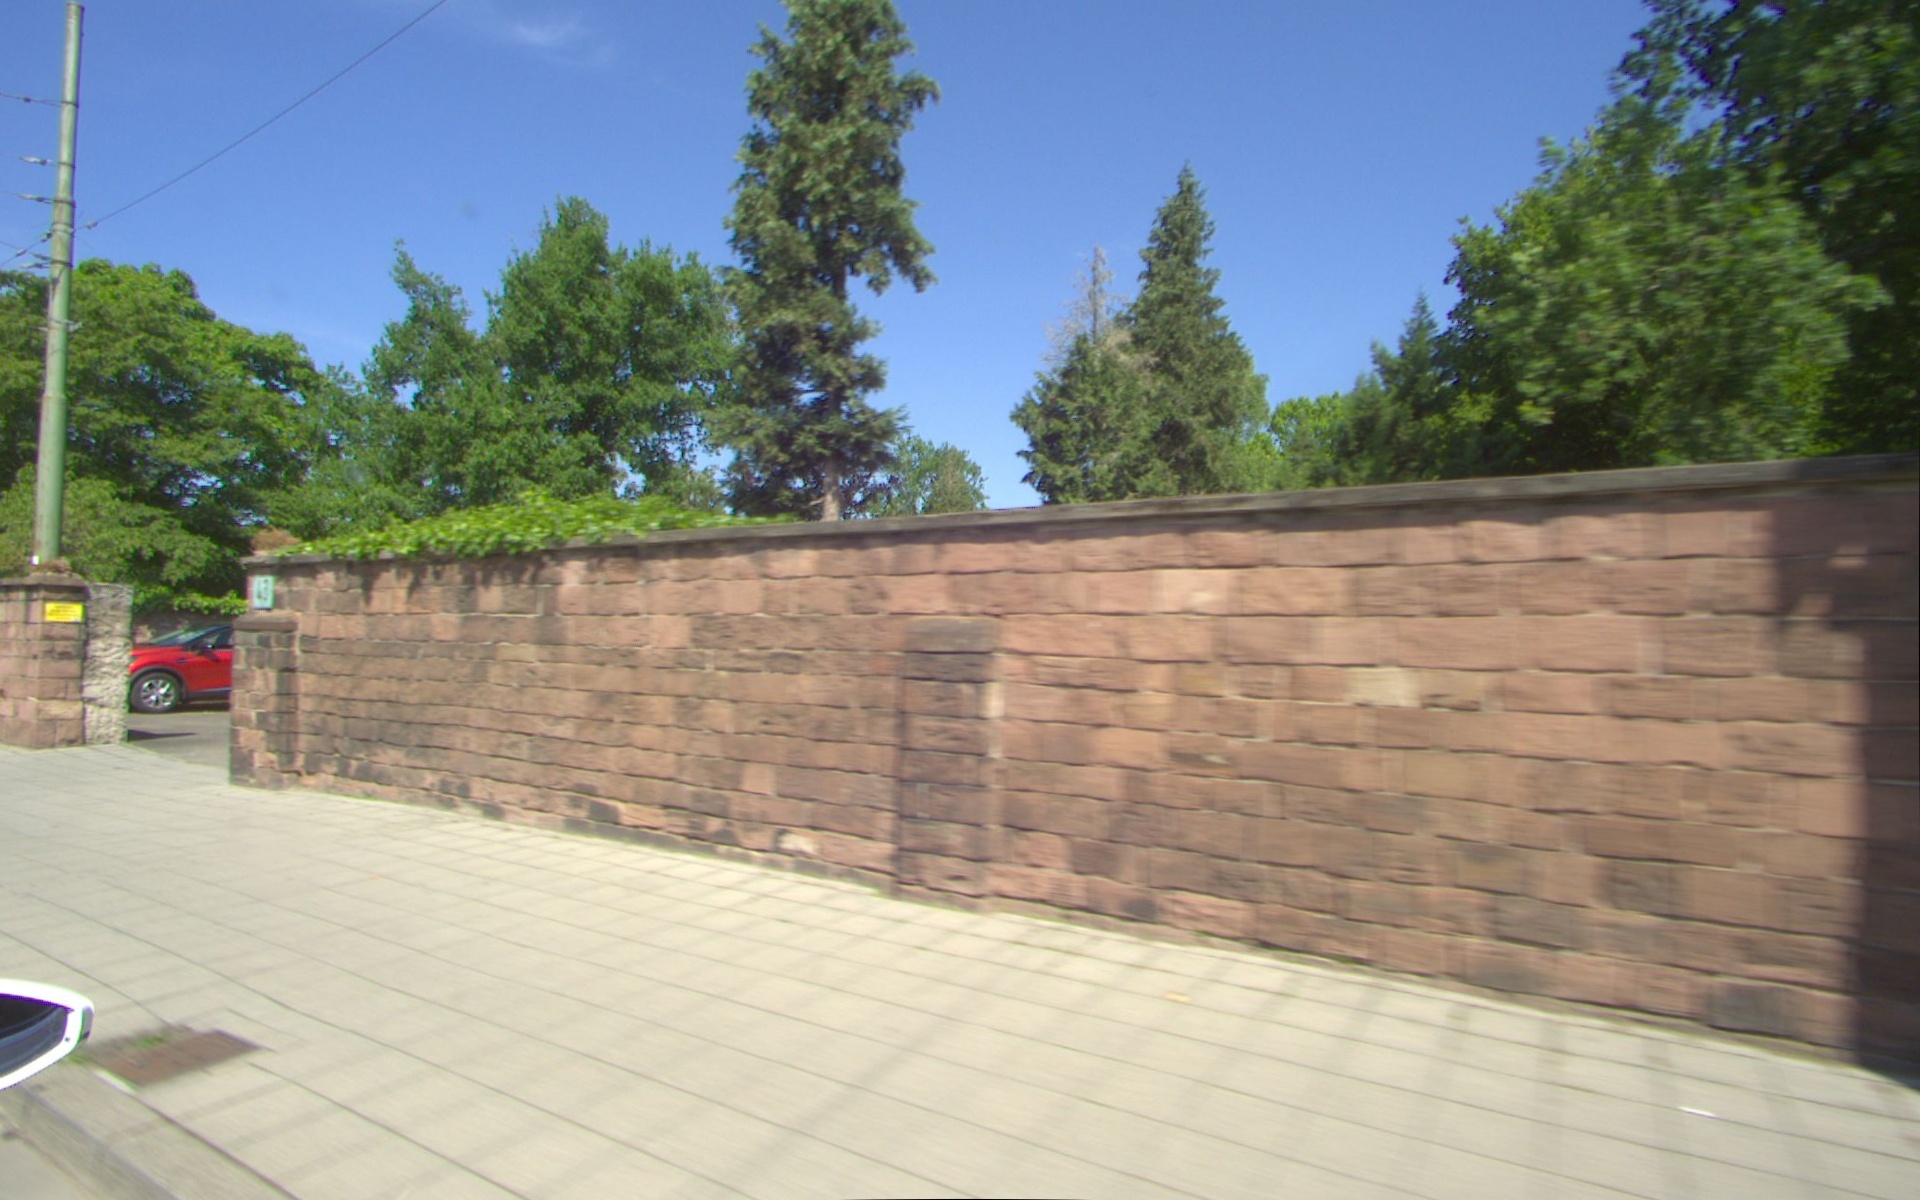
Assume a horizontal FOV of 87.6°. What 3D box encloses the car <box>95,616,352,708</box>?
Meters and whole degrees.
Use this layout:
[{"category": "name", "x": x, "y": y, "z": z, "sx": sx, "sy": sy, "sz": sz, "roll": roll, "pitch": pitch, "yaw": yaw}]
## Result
[{"category": "car", "x": -13.222, "y": 1.123, "z": 18.167, "sx": 1.502, "sy": 1.482, "sz": 3.403, "roll": 0, "pitch": -3, "yaw": 32}]
